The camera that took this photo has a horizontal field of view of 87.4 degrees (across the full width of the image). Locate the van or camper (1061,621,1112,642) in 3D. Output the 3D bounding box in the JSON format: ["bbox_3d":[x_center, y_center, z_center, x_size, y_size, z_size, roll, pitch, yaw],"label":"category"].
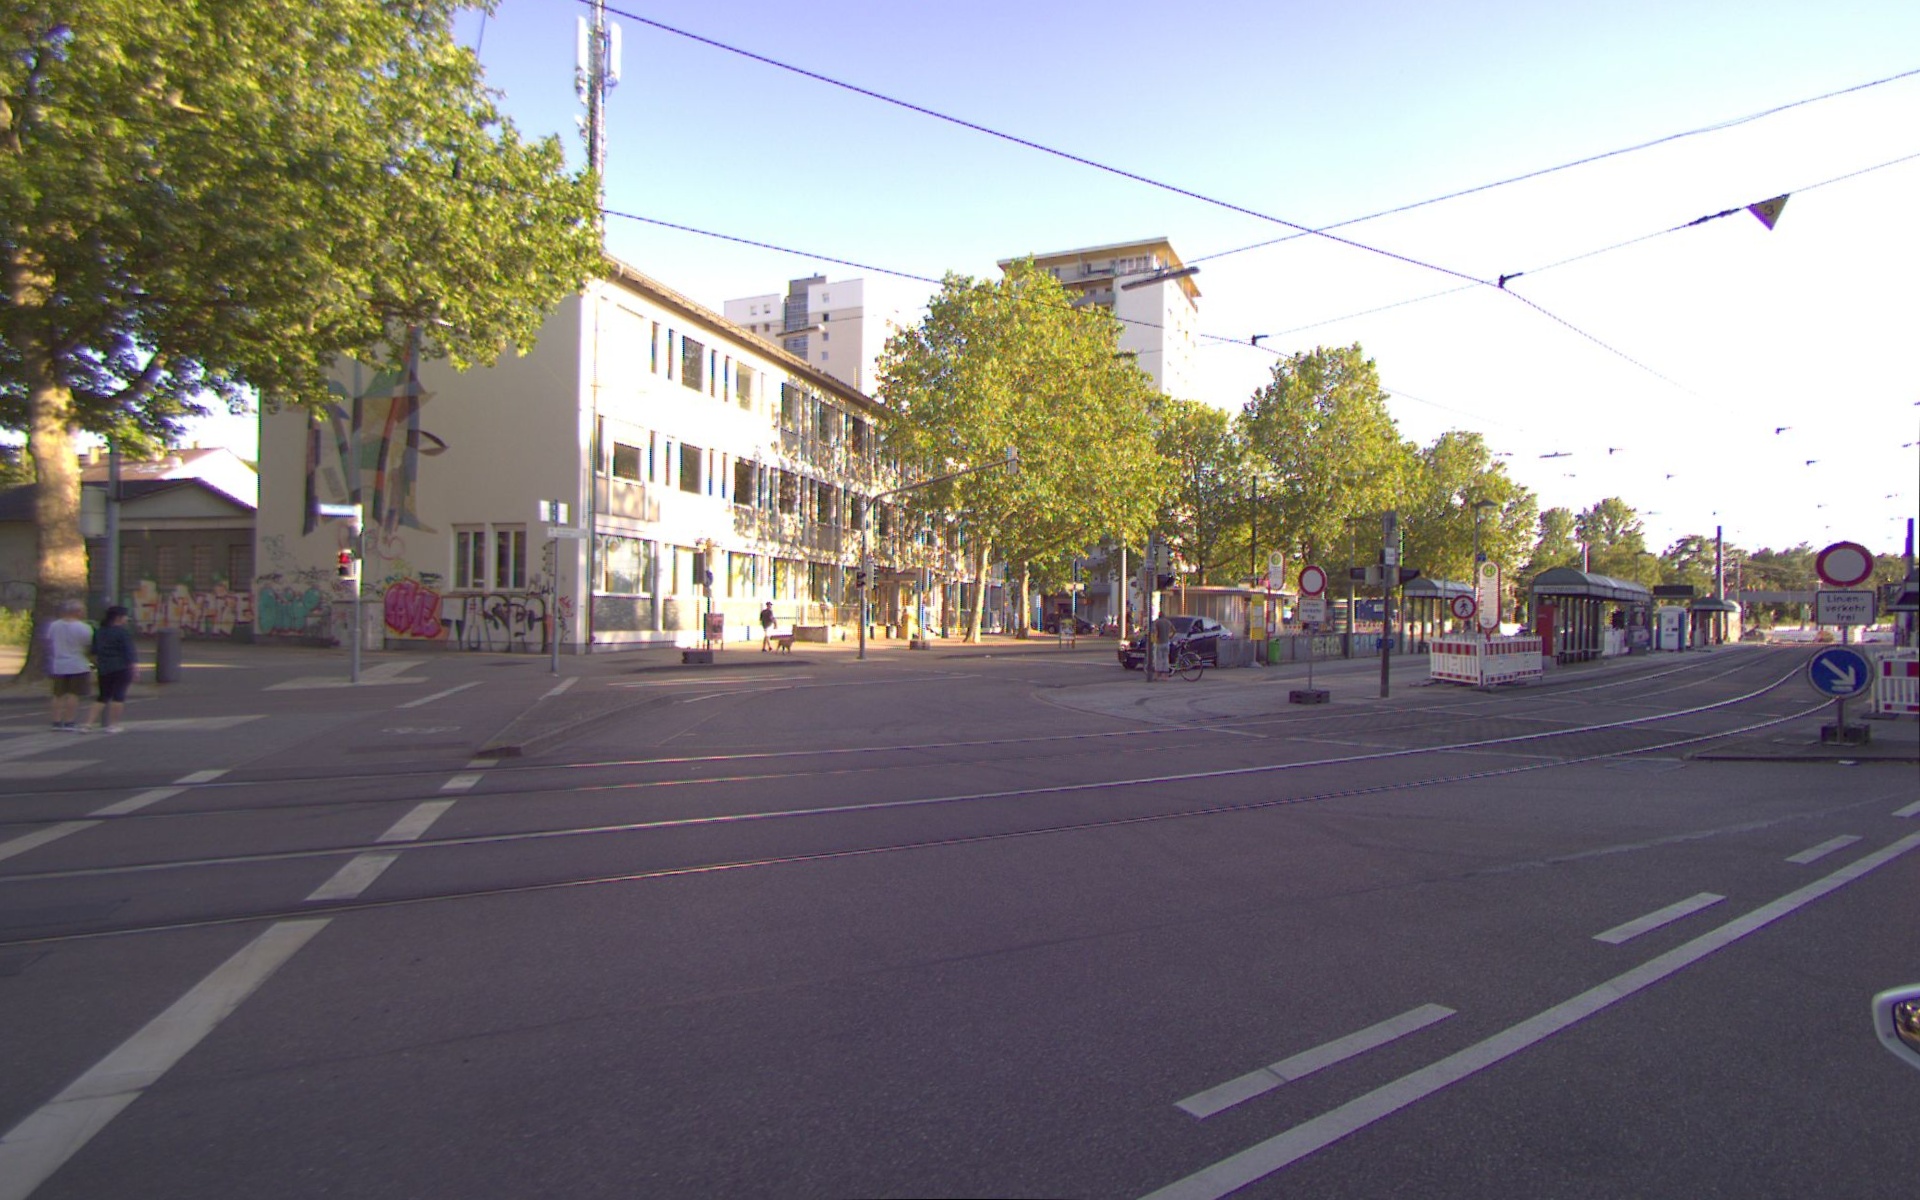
[{"bbox_3d":[10.101,2.538,80.611,3.920,1.572,1.829,1,-1,3],"label":"van or camper"}]

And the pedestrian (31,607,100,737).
[{"bbox_3d":[-10.829,0.854,12.171,0.589,1.524,0.515,1,-1,-41],"label":"pedestrian"}]

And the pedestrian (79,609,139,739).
[{"bbox_3d":[-10.260,0.875,12.114,0.513,1.524,0.404,1,-1,-41],"label":"pedestrian"}]

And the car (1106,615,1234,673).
[{"bbox_3d":[6.423,1.304,30.428,1.866,1.606,4.181,0,-1,44],"label":"car"}]

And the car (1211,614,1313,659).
[{"bbox_3d":[11.103,1.317,36.778,1.866,1.551,4.181,0,-1,44],"label":"car"}]

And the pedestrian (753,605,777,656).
[{"bbox_3d":[-6.795,1.044,34.921,0.664,1.733,0.431,2,2,25],"label":"pedestrian"}]

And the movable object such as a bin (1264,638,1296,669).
[{"bbox_3d":[9.634,1.597,30.231,0.664,0.878,0.698,3,2,45],"label":"movable object such as a bin"}]

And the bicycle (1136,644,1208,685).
[{"bbox_3d":[5.439,1.642,25.878,1.820,0.955,0.461,0,-1,42],"label":"bicycle"}]

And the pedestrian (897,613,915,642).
[{"bbox_3d":[-2.726,1.357,50.663,0.663,1.414,0.693,2,1,17],"label":"pedestrian"}]

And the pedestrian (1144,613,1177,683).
[{"bbox_3d":[5.102,1.224,25.605,0.712,1.748,0.397,0,-1,42],"label":"pedestrian"}]

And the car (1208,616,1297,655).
[{"bbox_3d":[12.289,1.467,42.114,1.866,1.551,4.181,0,-1,44],"label":"car"}]

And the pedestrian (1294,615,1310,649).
[{"bbox_3d":[20.612,1.917,60.520,0.698,2.040,0.741,1,0,35],"label":"pedestrian"}]
